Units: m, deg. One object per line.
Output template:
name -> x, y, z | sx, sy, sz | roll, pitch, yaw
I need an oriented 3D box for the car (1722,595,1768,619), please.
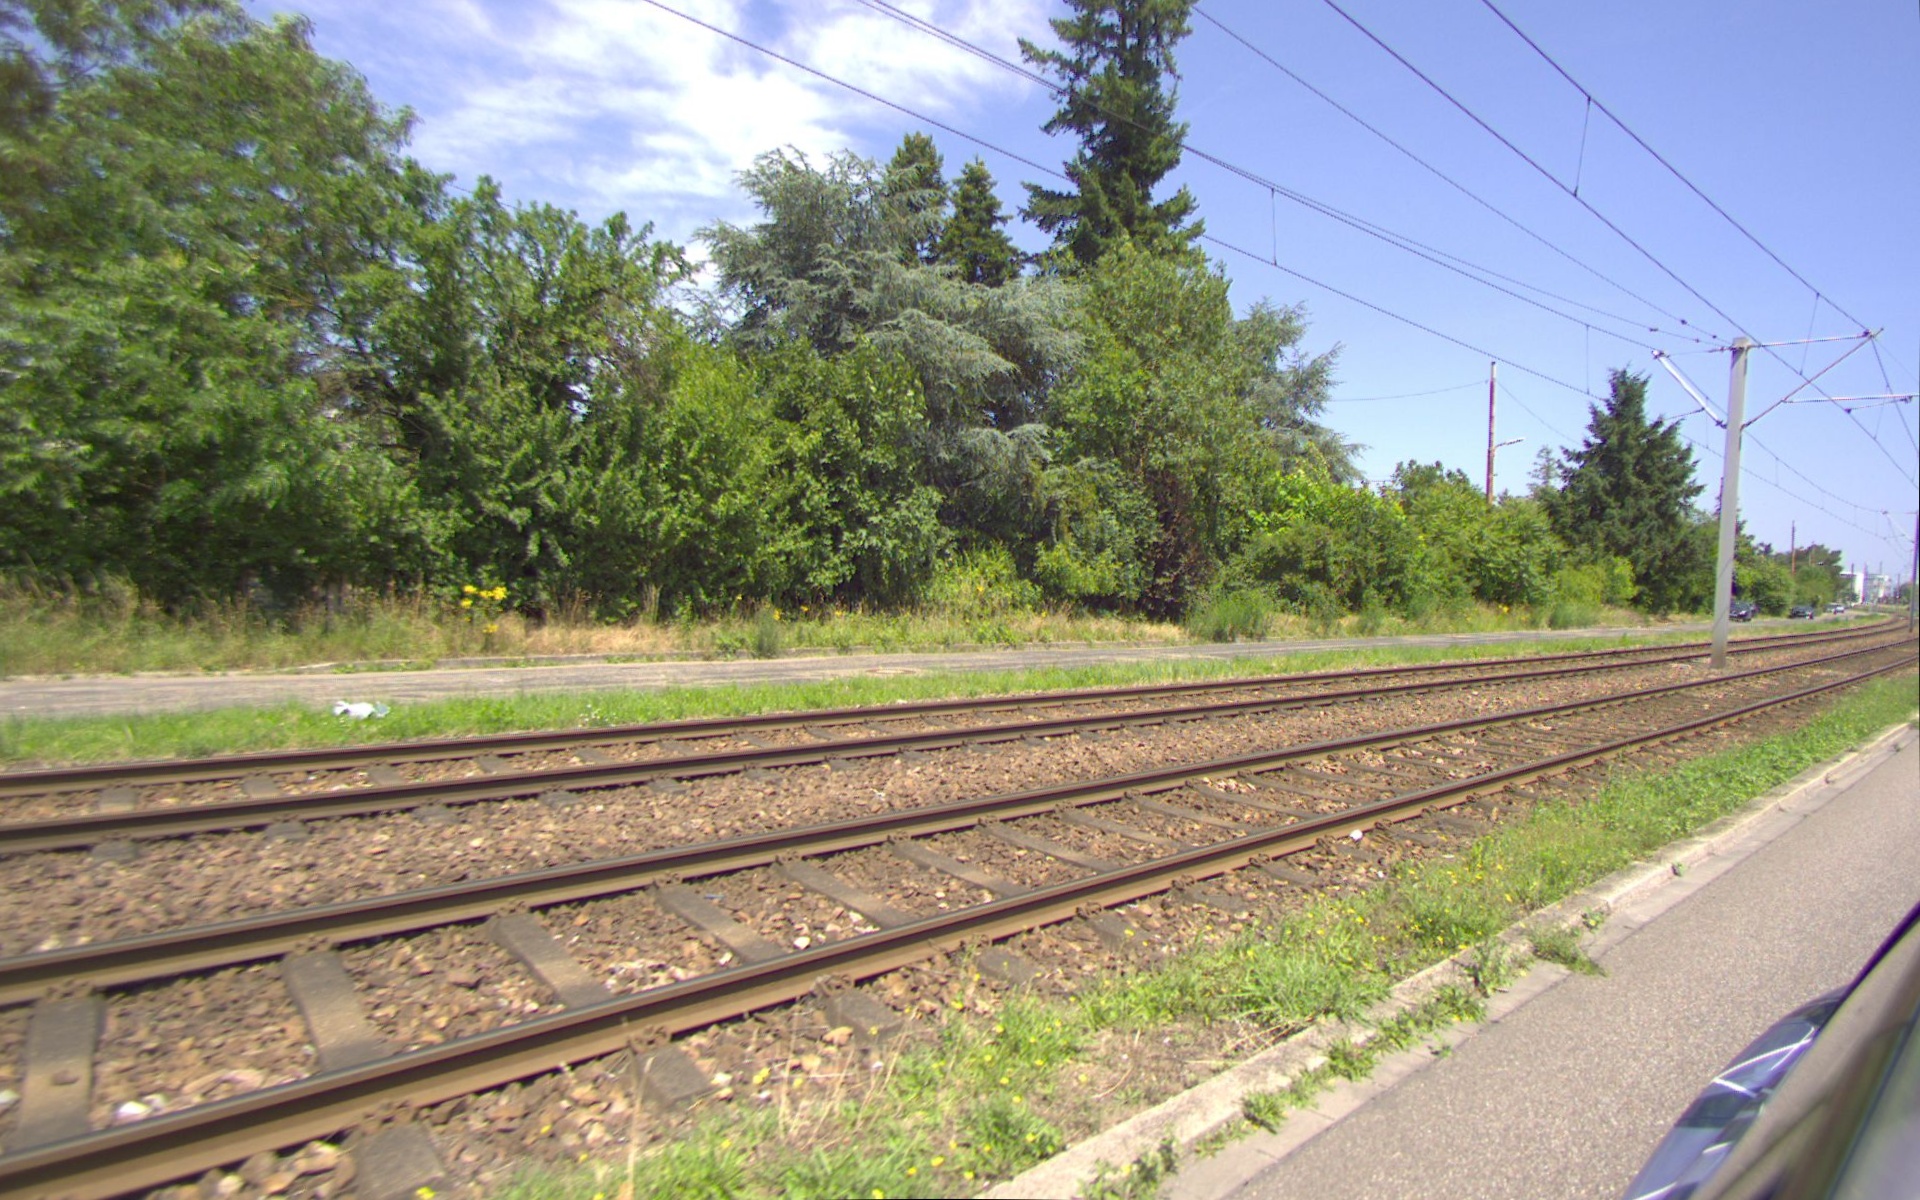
car -> 57.913, 0.506, 74.627 | 3.930, 1.742, 1.997 | 0, 0, -41

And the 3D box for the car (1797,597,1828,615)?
car -> 80.836, 0.561, 95.938 | 3.934, 1.716, 1.942 | 0, 0, -45
